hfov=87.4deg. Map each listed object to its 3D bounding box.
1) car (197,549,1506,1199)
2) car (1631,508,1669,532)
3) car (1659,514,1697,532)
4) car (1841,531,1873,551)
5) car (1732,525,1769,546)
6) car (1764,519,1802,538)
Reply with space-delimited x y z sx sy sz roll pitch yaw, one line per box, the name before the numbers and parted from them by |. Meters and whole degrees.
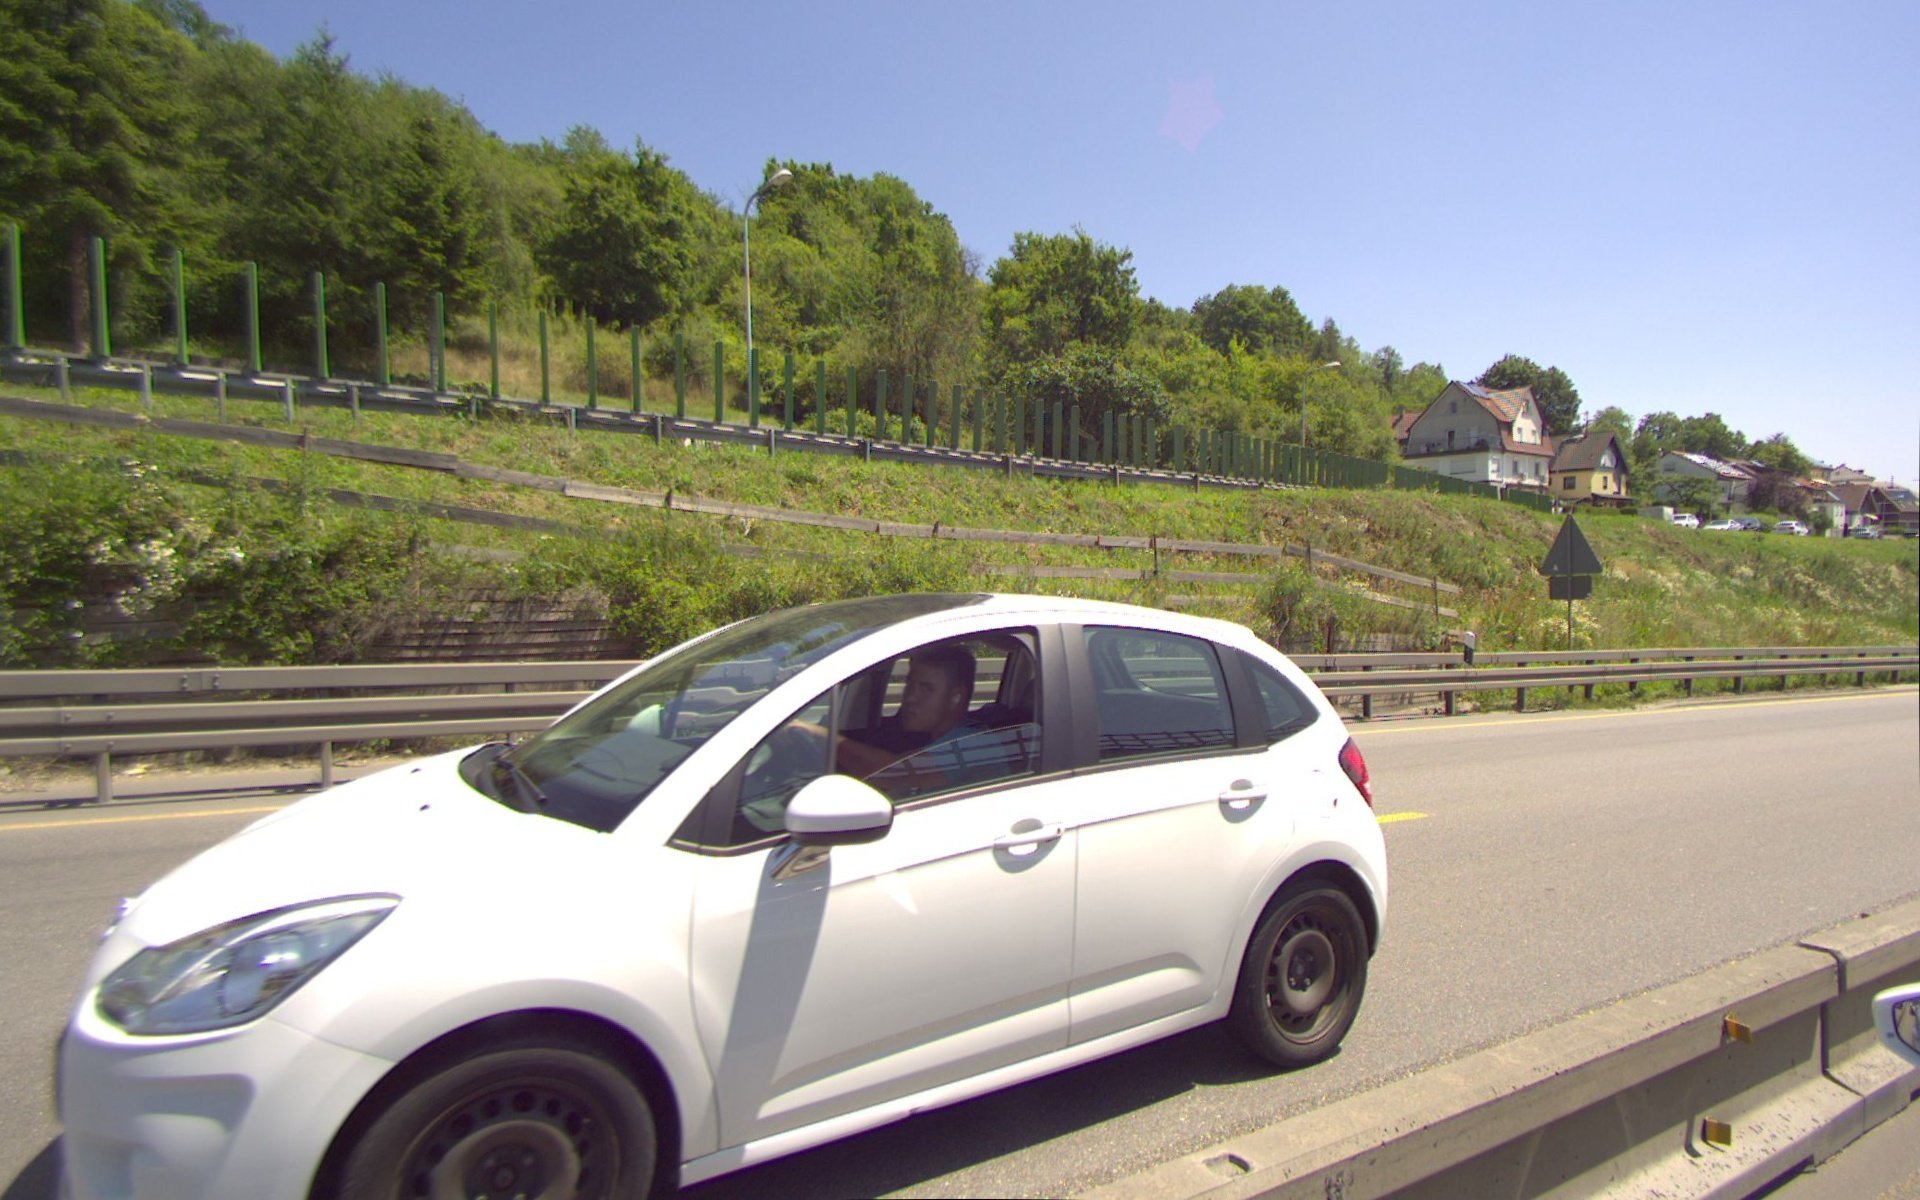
car | -0.083 0.698 3.425 3.822 1.506 1.757 1 0 -32
car | 48.390 -5.610 70.445 1.707 1.417 3.782 4 2 41
car | 52.201 -5.558 72.983 3.243 1.052 1.271 1 0 -36
car | 89.799 -5.880 100.544 3.968 1.751 1.909 1 0 -40
car | 64.935 -5.255 82.457 3.967 1.438 1.578 1 0 -40
car | 73.665 -6.384 89.906 3.969 1.337 1.976 1 3 -41
